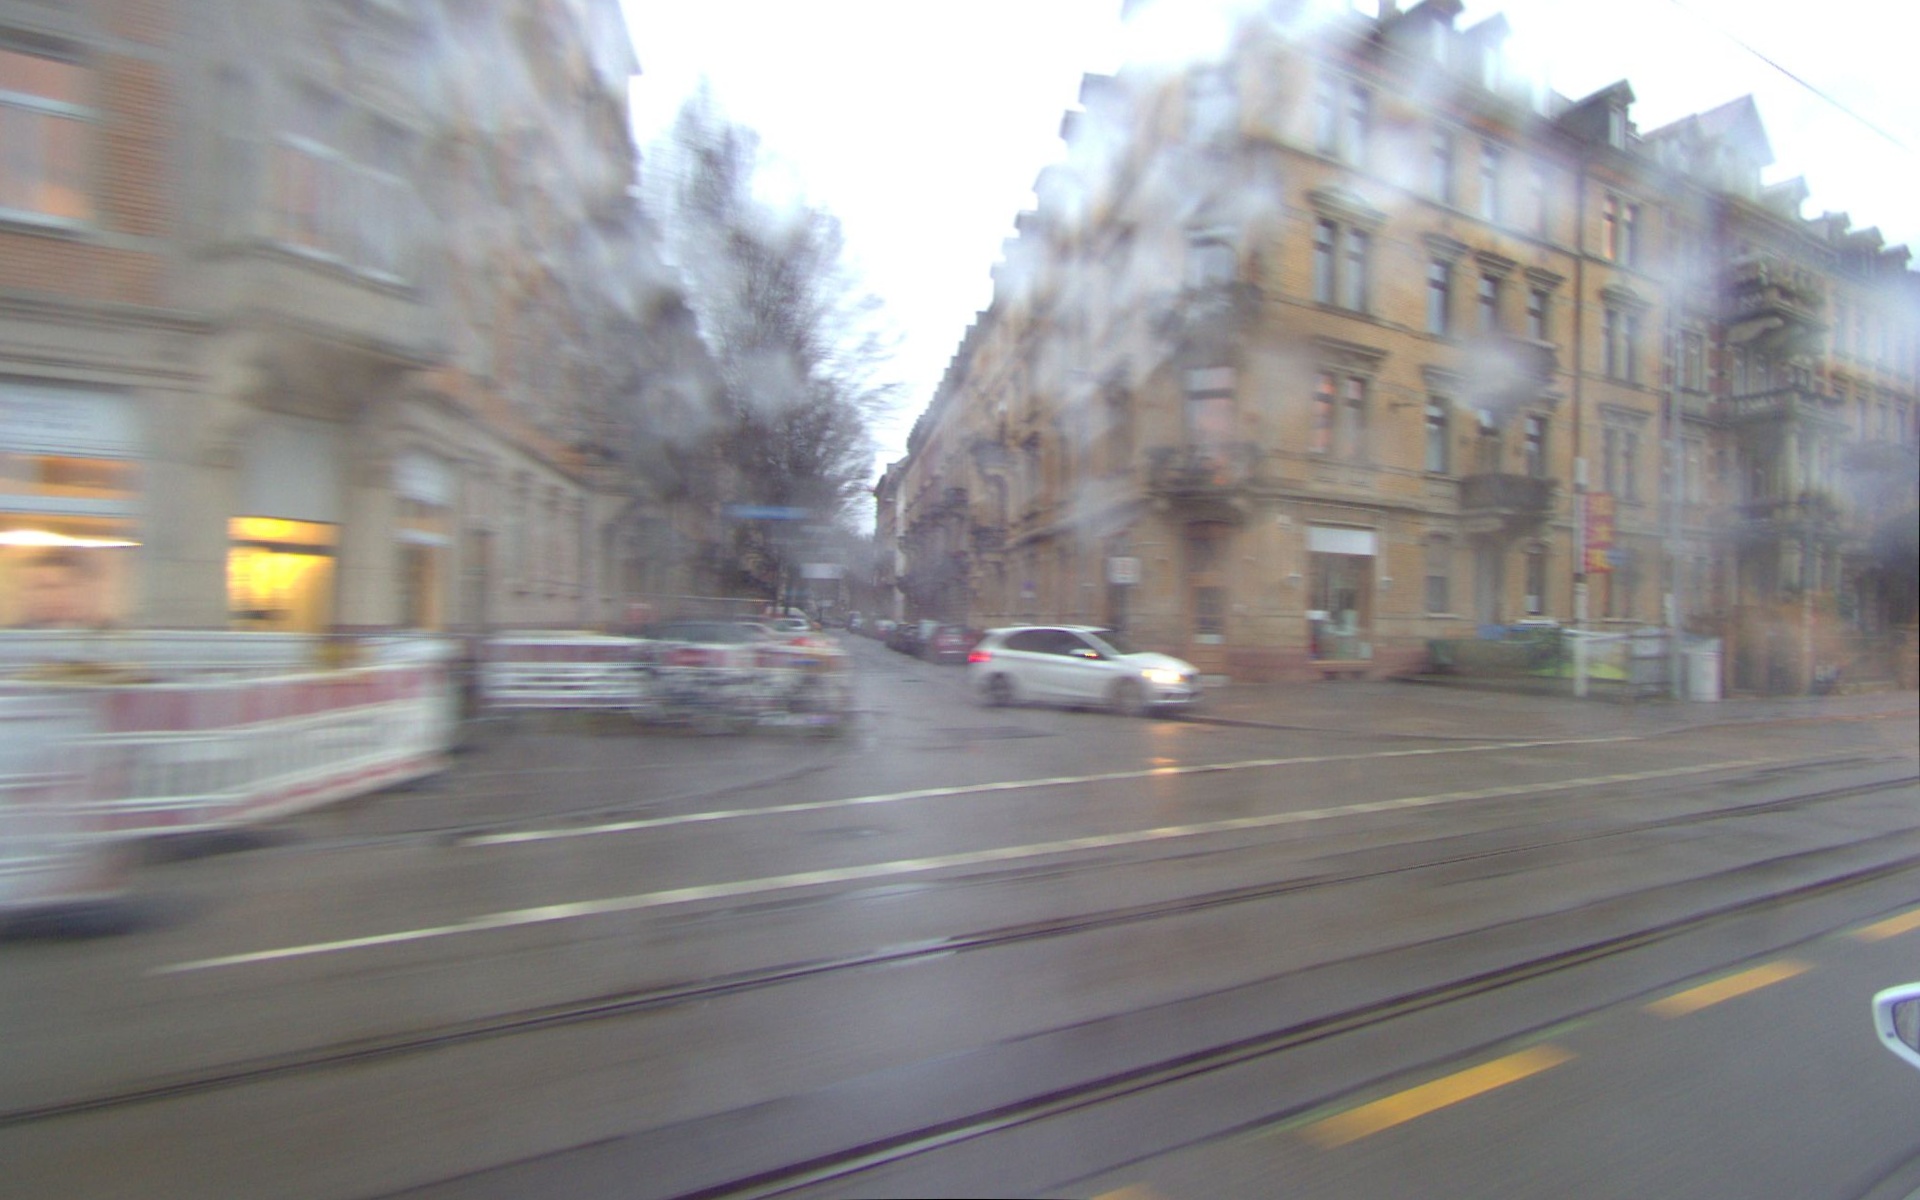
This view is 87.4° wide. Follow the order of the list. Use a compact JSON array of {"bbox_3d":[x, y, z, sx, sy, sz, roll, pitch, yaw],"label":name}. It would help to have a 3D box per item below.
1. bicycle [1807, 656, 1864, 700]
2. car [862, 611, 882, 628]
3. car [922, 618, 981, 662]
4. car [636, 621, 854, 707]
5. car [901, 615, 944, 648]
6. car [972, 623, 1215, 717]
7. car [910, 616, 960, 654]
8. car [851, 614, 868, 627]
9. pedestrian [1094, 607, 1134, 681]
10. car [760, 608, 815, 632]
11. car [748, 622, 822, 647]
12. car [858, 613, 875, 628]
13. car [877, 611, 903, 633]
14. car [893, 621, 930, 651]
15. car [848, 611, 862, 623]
[{"bbox_3d":[21.256,1.888,24.389,1.742,1.020,0.494,2,-1,-29],"label":"bicycle"},{"bbox_3d":[-8.414,1.878,96.088,1.726,1.546,3.940,1,-1,-8],"label":"car"},{"bbox_3d":[-0.375,1.493,38.293,1.726,1.546,3.940,1,-1,-8],"label":"car"},{"bbox_3d":[-4.111,1.226,19.715,3.923,1.550,1.728,1,-1,-3],"label":"car"},{"bbox_3d":[-1.914,1.534,50.076,1.726,1.546,3.940,1,-1,-8],"label":"car"},{"bbox_3d":[2.486,1.236,18.964,4.101,1.546,1.995,0,-2,32],"label":"car"},{"bbox_3d":[-1.108,1.491,43.243,1.726,1.546,3.940,1,-1,-8],"label":"car"},{"bbox_3d":[-11.712,2.380,116.944,1.726,1.546,3.940,1,-1,-8],"label":"car"},{"bbox_3d":[3.772,1.081,24.692,0.757,1.797,0.719,1,-1,-11],"label":"pedestrian"},{"bbox_3d":[-14.546,1.688,84.789,4.430,1.901,1.995,1,-1,-13],"label":"car"},{"bbox_3d":[-10.151,1.999,58.133,3.941,1.384,1.728,2,-1,-22],"label":"car"},{"bbox_3d":[-10.444,2.299,112.043,1.726,1.546,3.940,1,-1,-8],"label":"car"},{"bbox_3d":[-5.199,1.621,74.263,1.726,1.546,3.940,1,-1,-8],"label":"car"},{"bbox_3d":[-2.707,1.970,55.391,1.726,1.546,3.940,1,-1,-8],"label":"car"},{"bbox_3d":[-14.332,2.360,136.885,1.726,1.546,3.940,1,-1,-8],"label":"car"}]
